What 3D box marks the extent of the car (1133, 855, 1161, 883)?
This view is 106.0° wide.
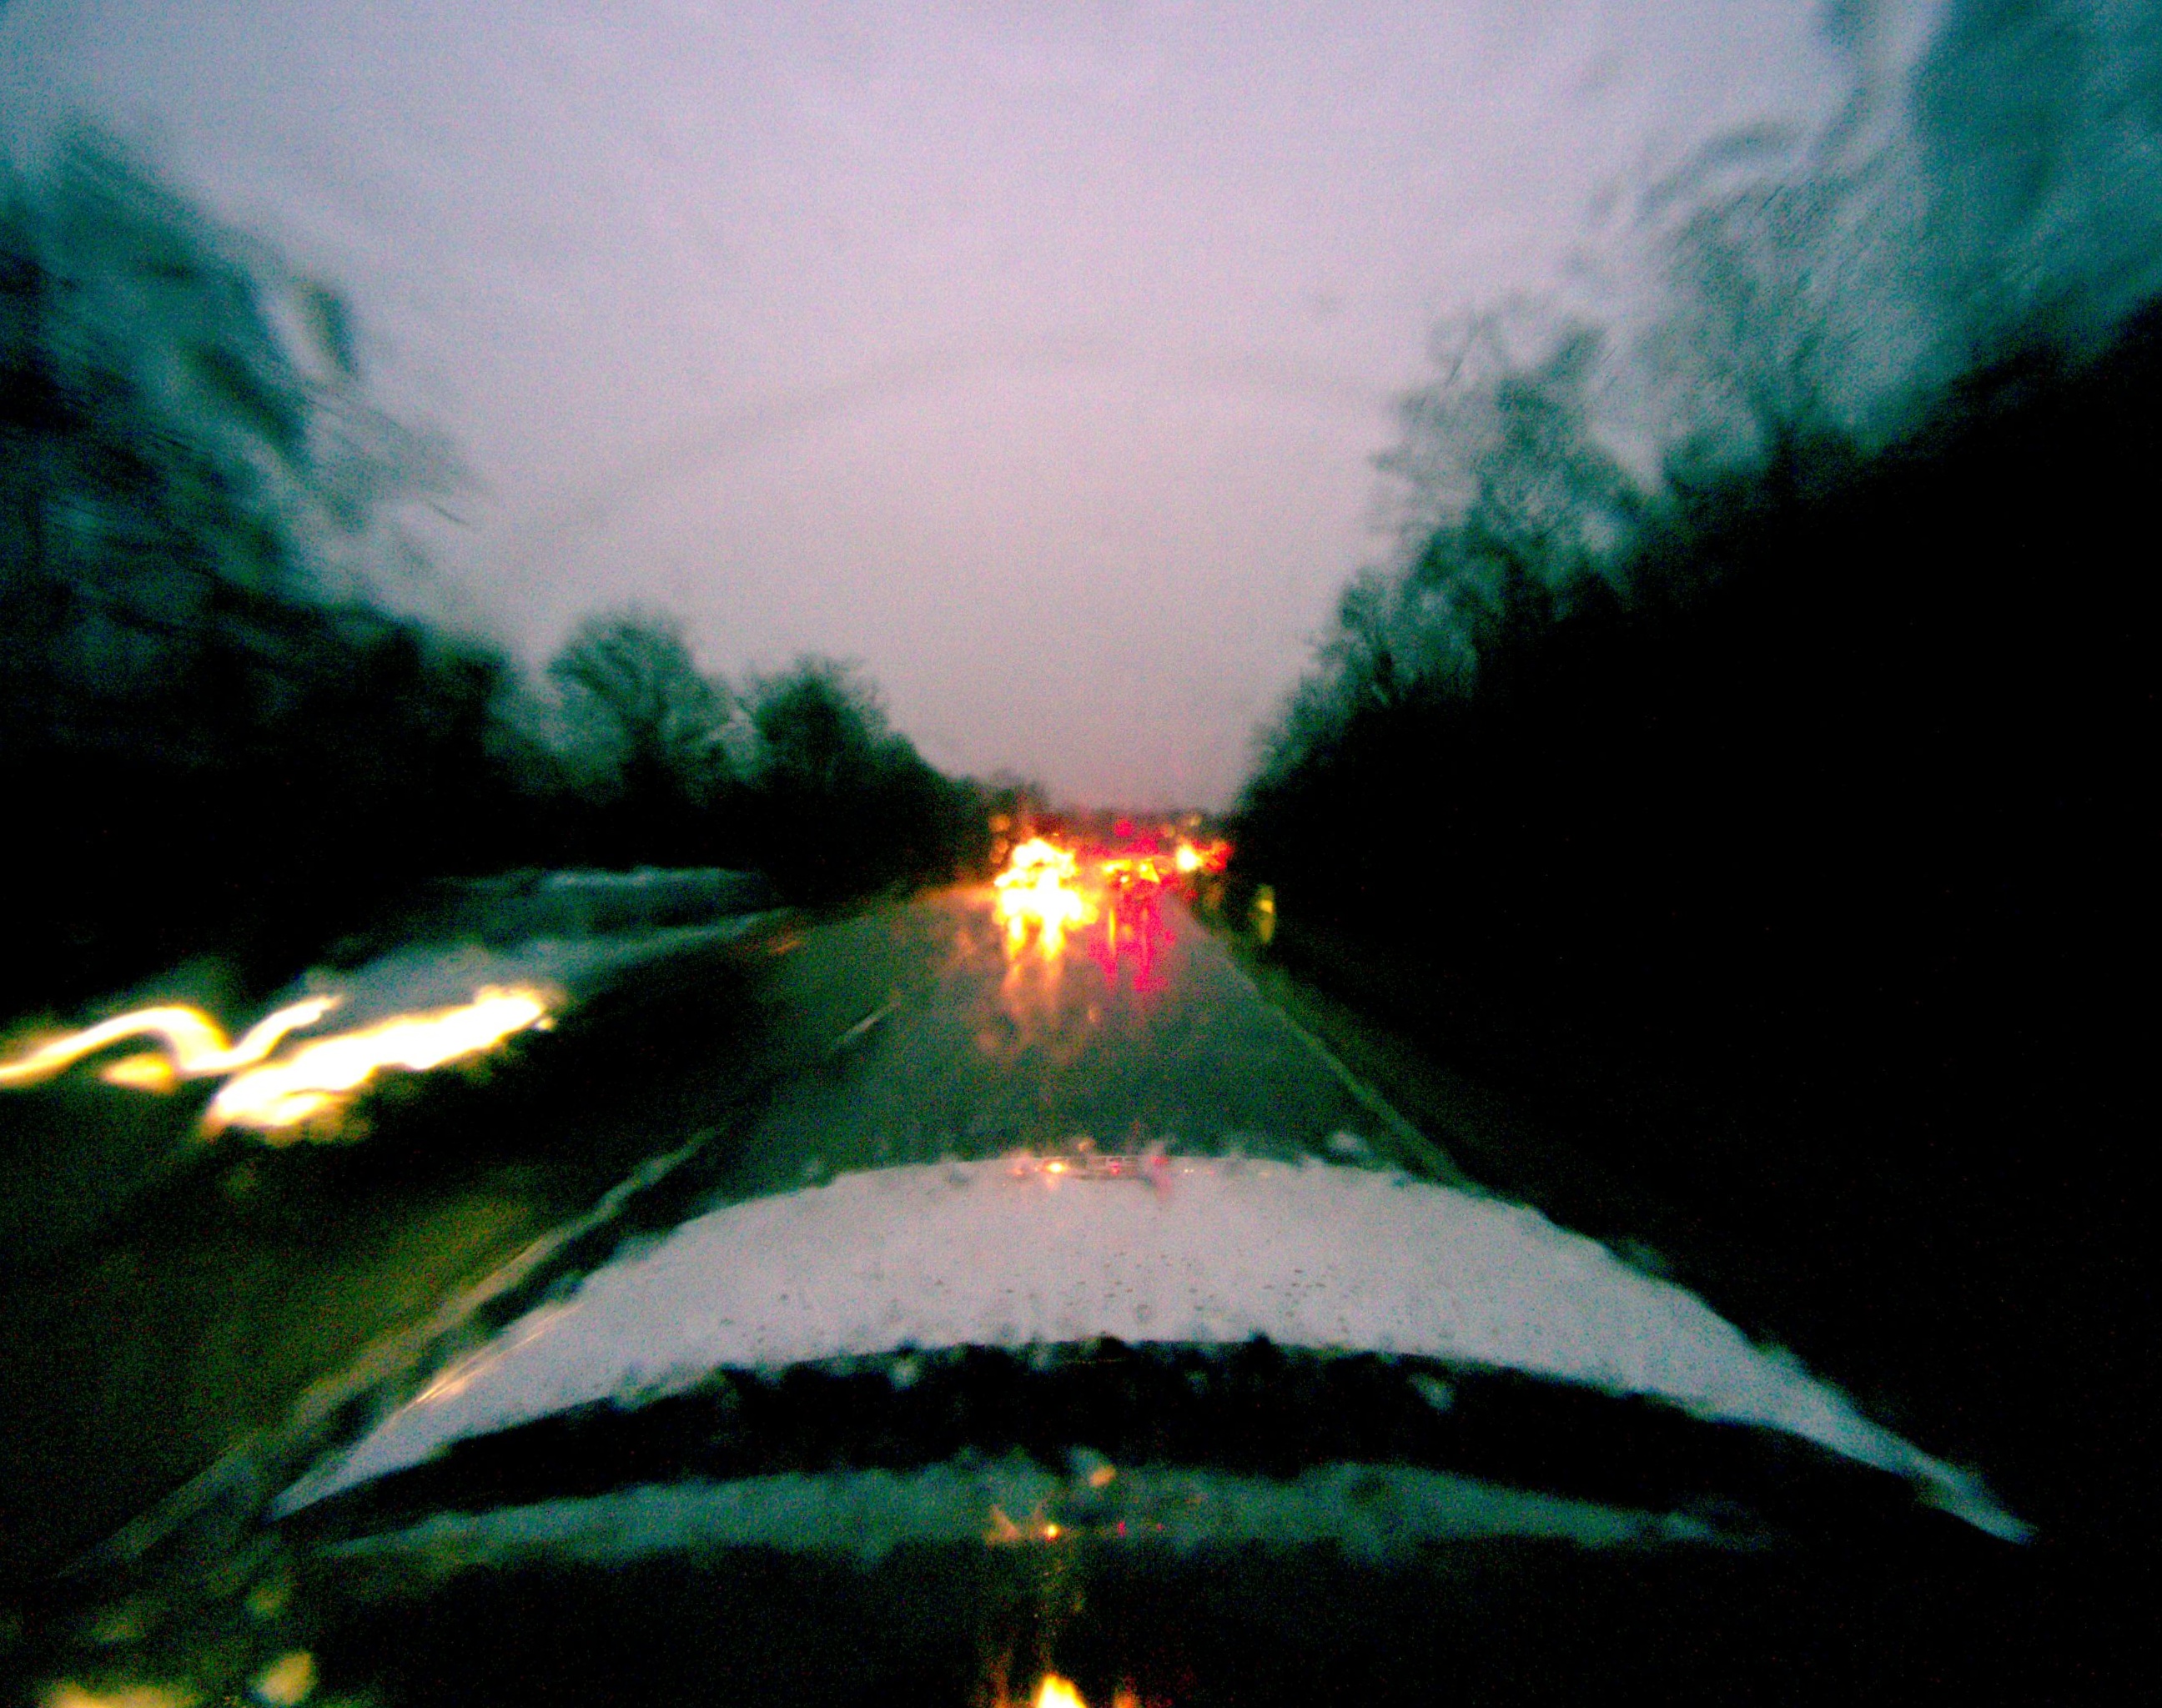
[{"bbox_3d":[5.185,1.111,63.477,1.983,2.013,4.008,-2,0,7],"label":"car"}]

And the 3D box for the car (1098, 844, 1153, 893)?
[{"bbox_3d":[1.578,0.505,30.328,1.723,1.643,3.998,-2,0,-1],"label":"car"}]

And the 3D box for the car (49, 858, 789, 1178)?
[{"bbox_3d":[-3.949,0.782,6.103,1.738,1.473,4.486,0,0,2],"label":"car"}]

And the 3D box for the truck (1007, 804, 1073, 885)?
[{"bbox_3d":[-1.958,-0.448,42.468,2.812,3.716,8.533,-2,0,0],"label":"truck"}]
